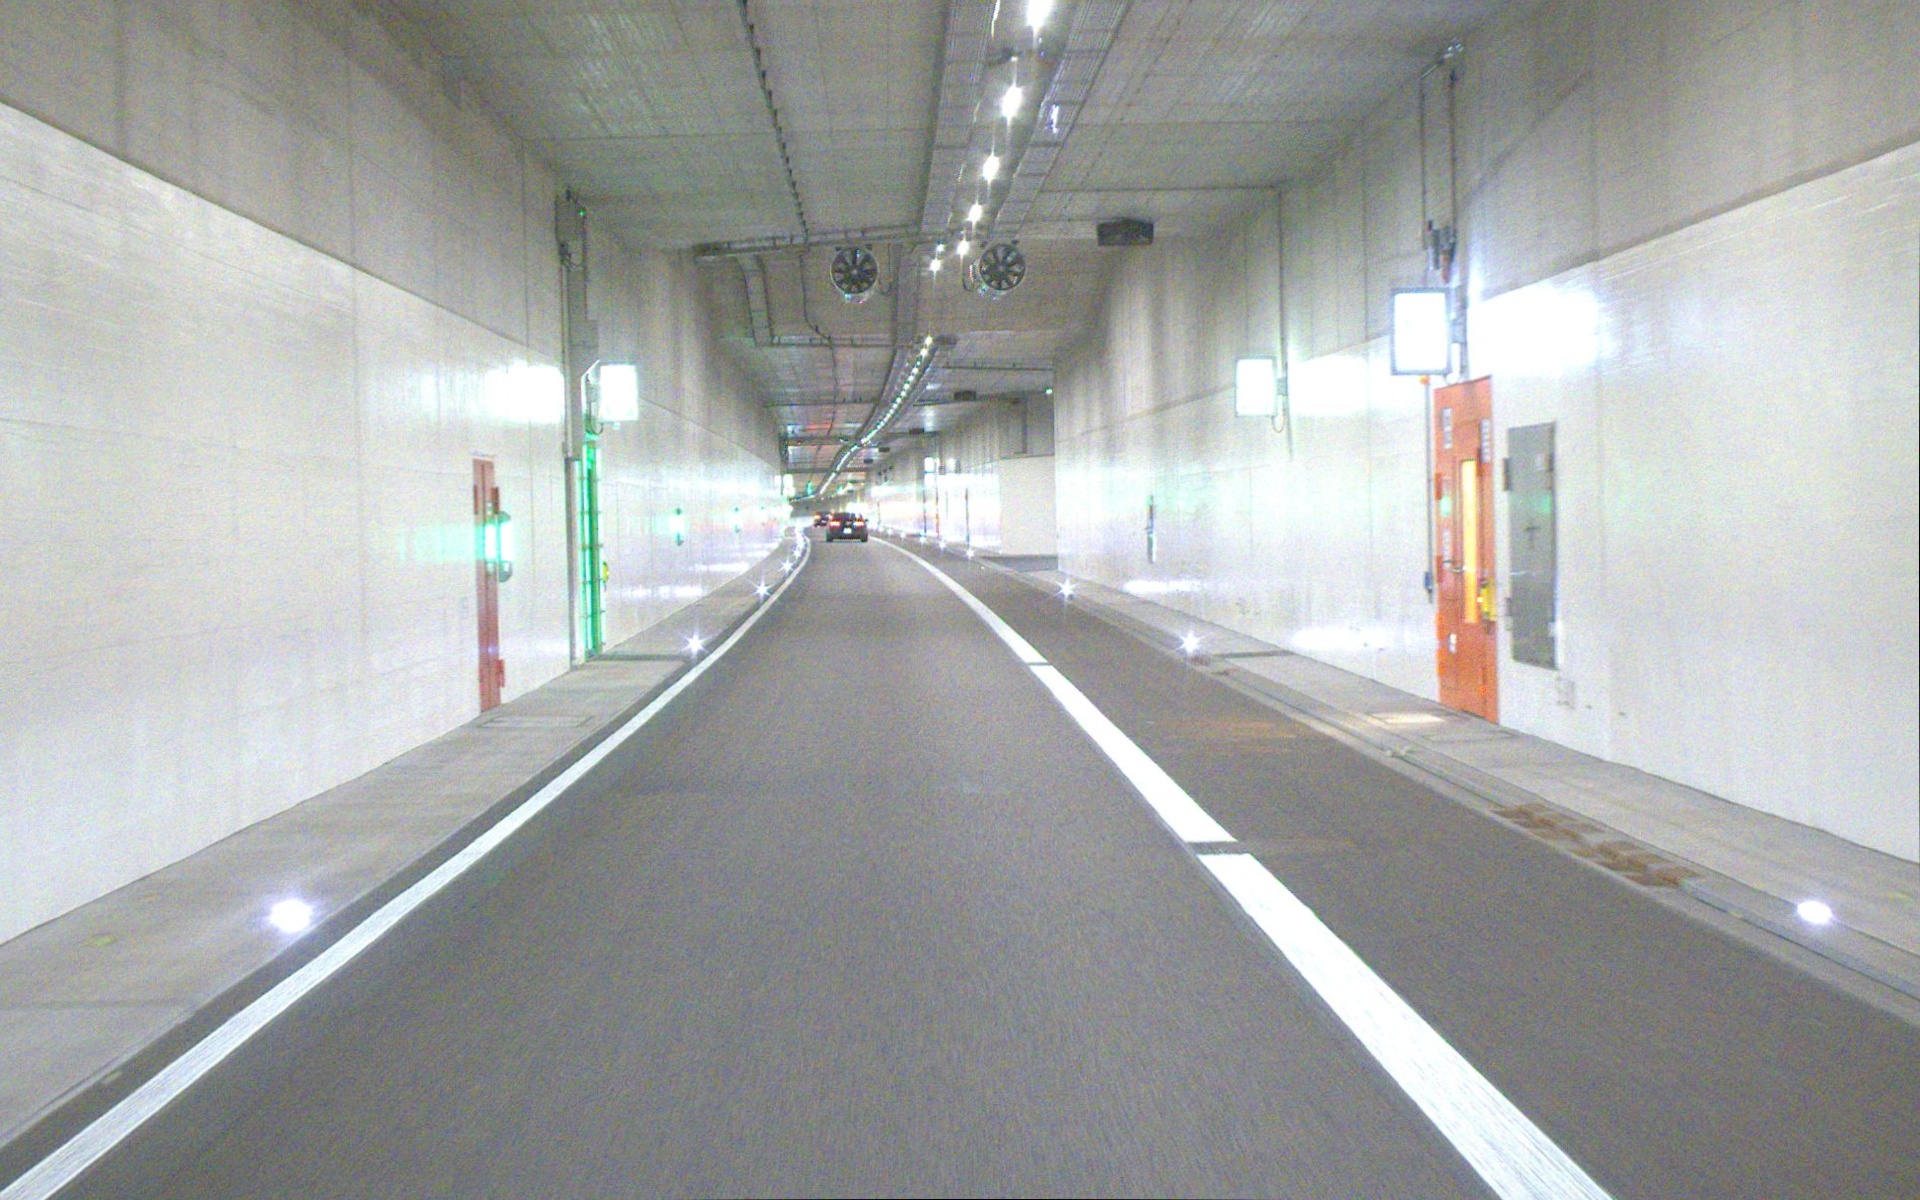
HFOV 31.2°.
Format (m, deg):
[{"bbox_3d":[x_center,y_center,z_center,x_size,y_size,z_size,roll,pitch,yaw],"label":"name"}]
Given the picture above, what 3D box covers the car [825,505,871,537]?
[{"bbox_3d":[-5.147,-3.625,157.764,1.993,1.415,4.001,-1,2,-3],"label":"car"}]
